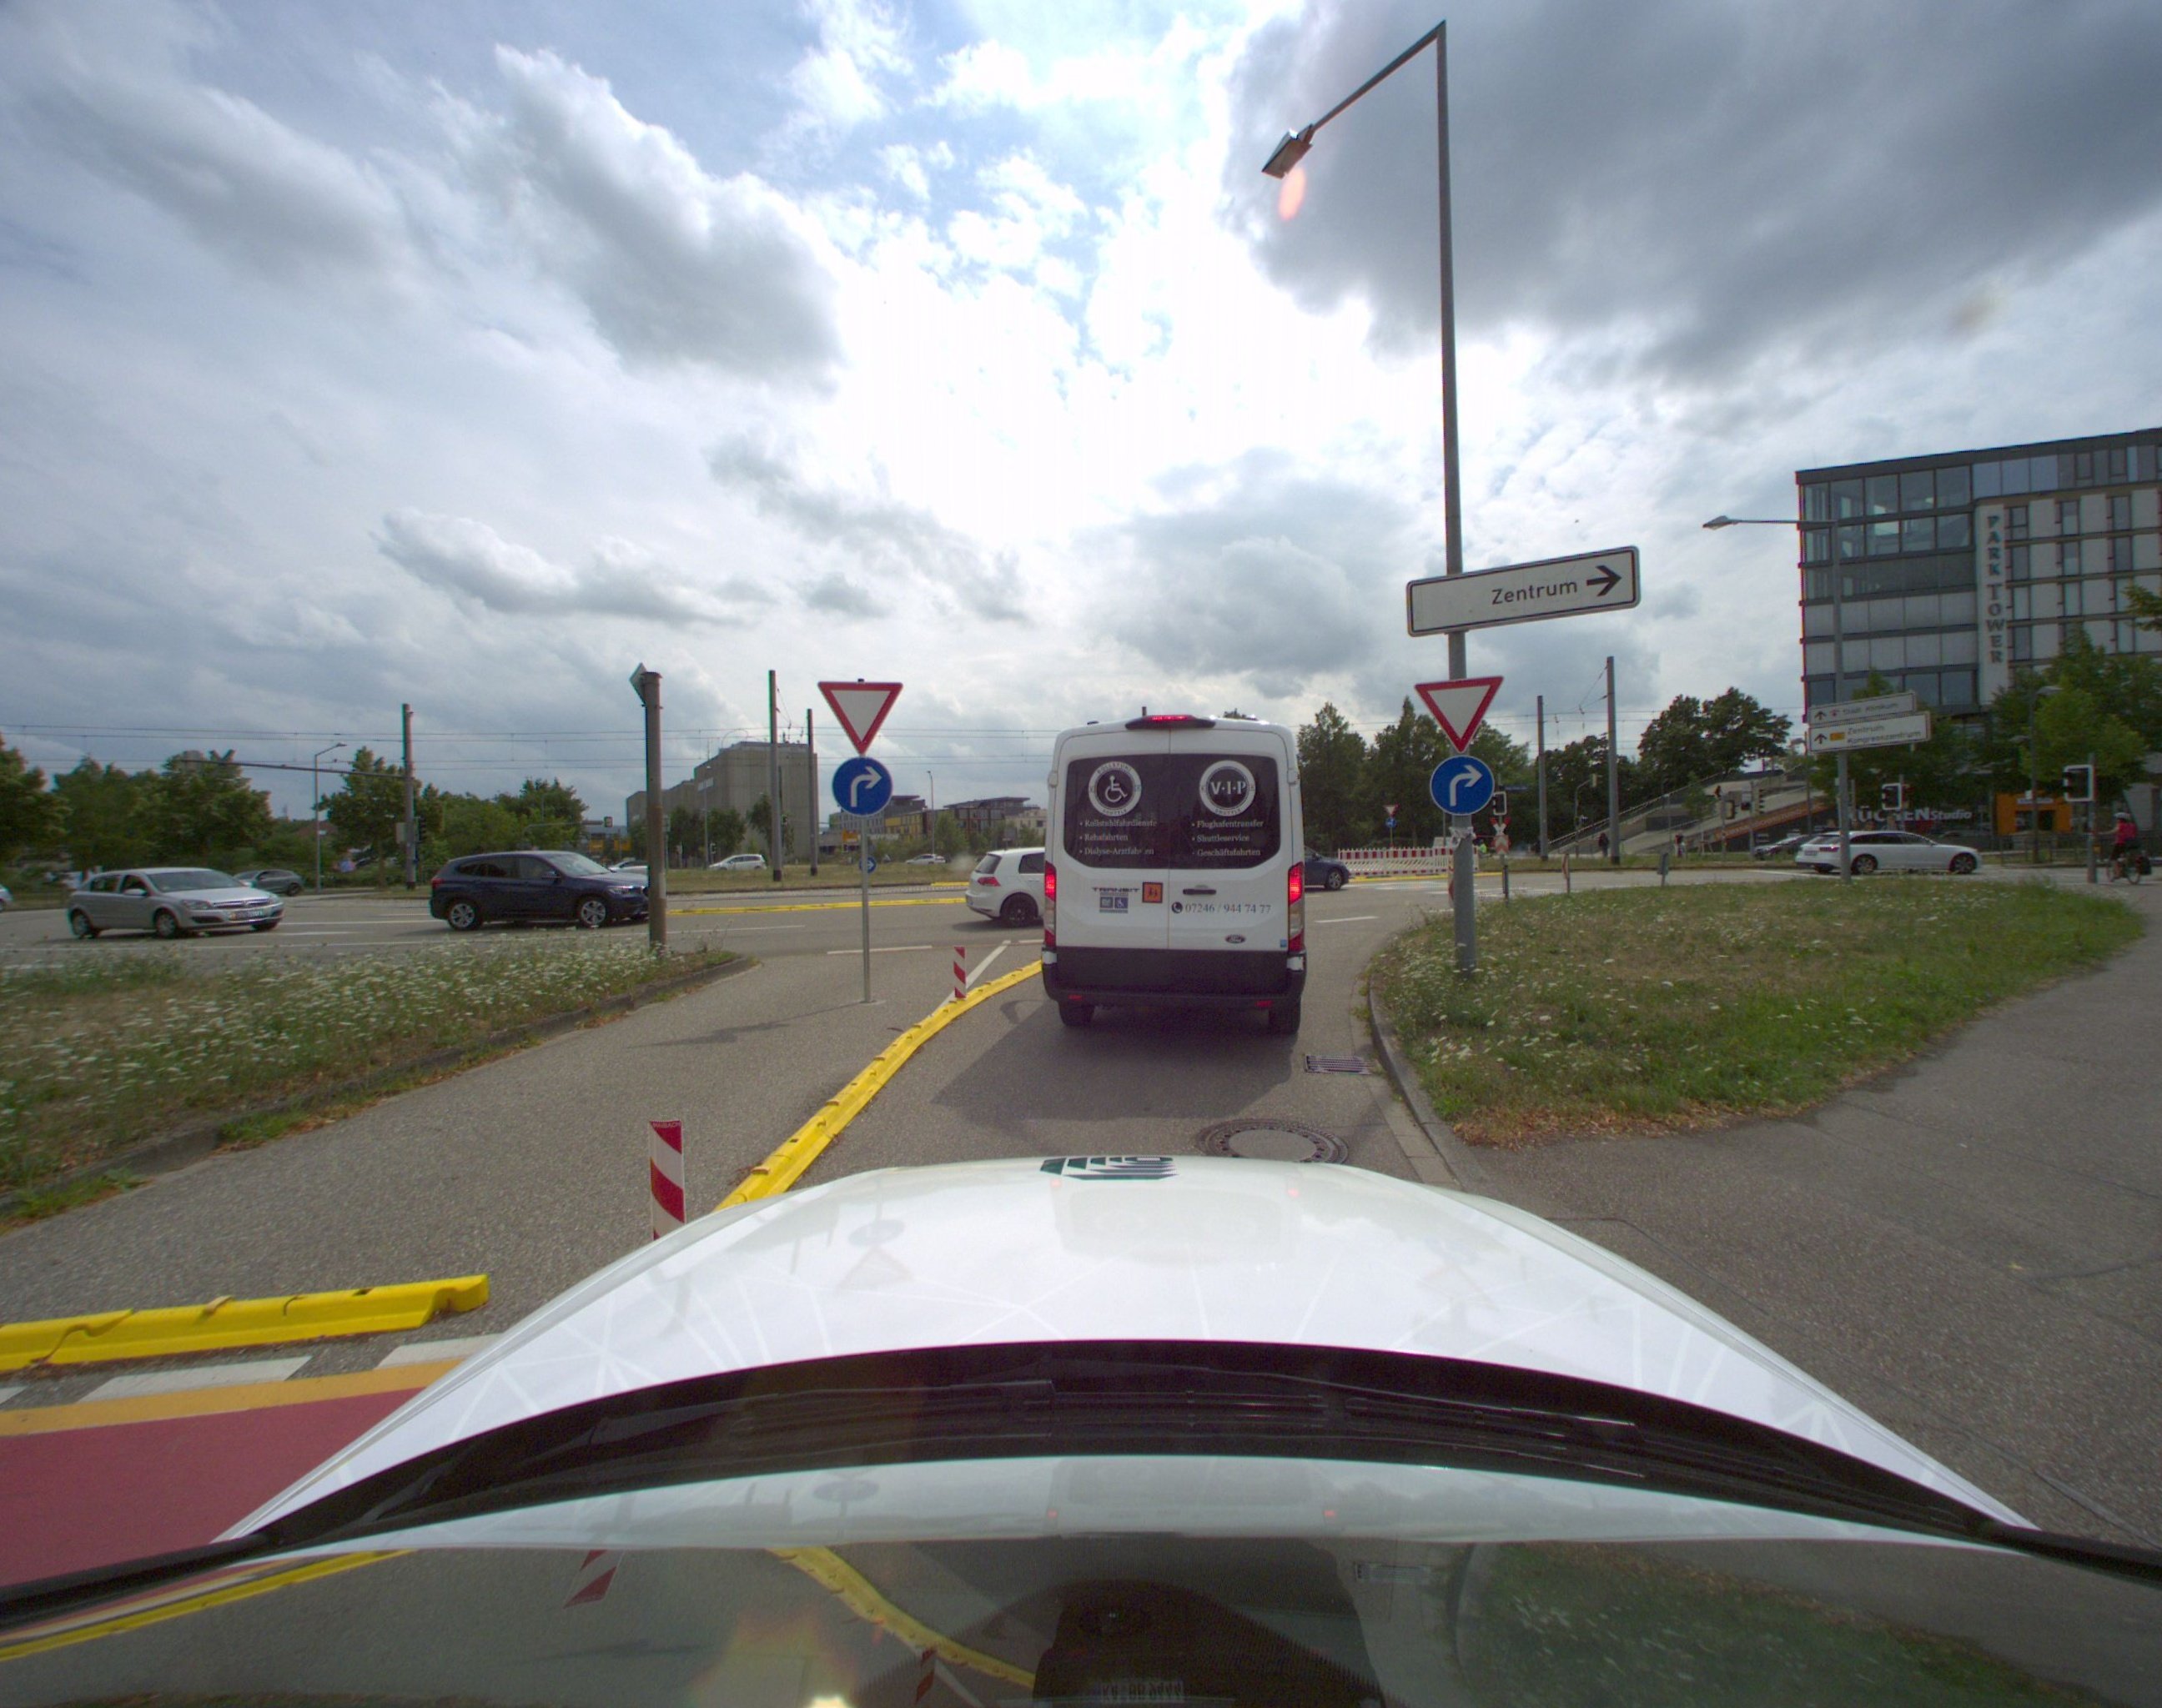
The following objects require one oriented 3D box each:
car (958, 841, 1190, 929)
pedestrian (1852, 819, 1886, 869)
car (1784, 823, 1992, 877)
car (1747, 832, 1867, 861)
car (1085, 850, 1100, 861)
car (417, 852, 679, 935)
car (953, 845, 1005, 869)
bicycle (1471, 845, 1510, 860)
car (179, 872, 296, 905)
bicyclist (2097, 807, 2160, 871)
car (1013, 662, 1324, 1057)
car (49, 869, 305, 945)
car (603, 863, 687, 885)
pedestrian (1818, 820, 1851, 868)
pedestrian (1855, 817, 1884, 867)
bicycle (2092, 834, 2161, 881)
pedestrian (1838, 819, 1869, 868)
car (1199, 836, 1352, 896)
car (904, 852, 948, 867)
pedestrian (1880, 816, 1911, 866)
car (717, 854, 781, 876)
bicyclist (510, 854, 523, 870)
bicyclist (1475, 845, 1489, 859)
[{"bbox_3d":[-0.171,0.552,16.129,4.256,1.497,1.791,-2,0,-17],"label":"car"},{"bbox_3d":[28.745,-0.360,29.699,0.684,1.781,0.554,-1,0,8],"label":"pedestrian"},{"bbox_3d":[27.134,-0.124,27.551,4.710,1.618,2.005,-1,0,8],"label":"car"},{"bbox_3d":[40.240,-0.420,45.261,4.688,1.458,1.856,-1,1,14],"label":"car"},{"bbox_3d":[1.499,0.196,106.399,1.821,1.463,3.999,-1,-1,0],"label":"car"},{"bbox_3d":[-11.114,0.794,17.182,4.342,1.534,1.733,-2,0,1],"label":"car"},{"bbox_3d":[-8.823,0.267,70.379,3.954,2.014,2.010,-1,-1,19],"label":"car"},{"bbox_3d":[26.894,-0.121,53.539,2.176,0.938,0.618,-2,-2,41],"label":"bicycle"},{"bbox_3d":[-45.926,1.831,44.521,2.056,1.551,4.463,-2,0,-8],"label":"car"},{"bbox_3d":[27.373,-0.385,21.304,0.781,1.627,1.055,-2,0,41],"label":"bicyclist"},{"bbox_3d":[1.083,0.049,8.505,2.113,2.697,5.648,-1,0,10],"label":"car"},{"bbox_3d":[-19.516,1.126,17.647,4.217,1.462,1.837,-1,0,13],"label":"car"},{"bbox_3d":[-32.736,1.481,61.276,1.974,1.482,5.216,-1,0,41],"label":"car"},{"bbox_3d":[28.157,-0.375,30.449,0.684,1.781,0.554,-1,0,8],"label":"pedestrian"},{"bbox_3d":[29.483,-0.452,30.445,0.526,1.862,0.554,-1,0,8],"label":"pedestrian"},{"bbox_3d":[27.466,0.087,21.405,0.781,1.168,2.054,-2,0,42],"label":"bicycle"},{"bbox_3d":[28.859,-0.396,30.429,0.628,1.781,0.554,-1,0,8],"label":"pedestrian"},{"bbox_3d":[5.559,0.295,23.154,4.129,1.497,1.784,-2,0,-30],"label":"car"},{"bbox_3d":[-15.534,0.572,81.728,3.953,1.464,1.842,-1,-1,20],"label":"car"},{"bbox_3d":[29.598,-0.462,29.606,0.575,1.781,0.554,-1,0,8],"label":"pedestrian"},{"bbox_3d":[-27.150,0.878,66.671,4.380,1.665,1.914,-1,0,-44],"label":"car"},{"bbox_3d":[-50.704,0.714,73.194,0.853,1.409,0.678,-2,0,37],"label":"bicyclist"},{"bbox_3d":[26.523,-0.122,53.863,0.650,0.884,0.611,-2,-2,40],"label":"bicyclist"}]
